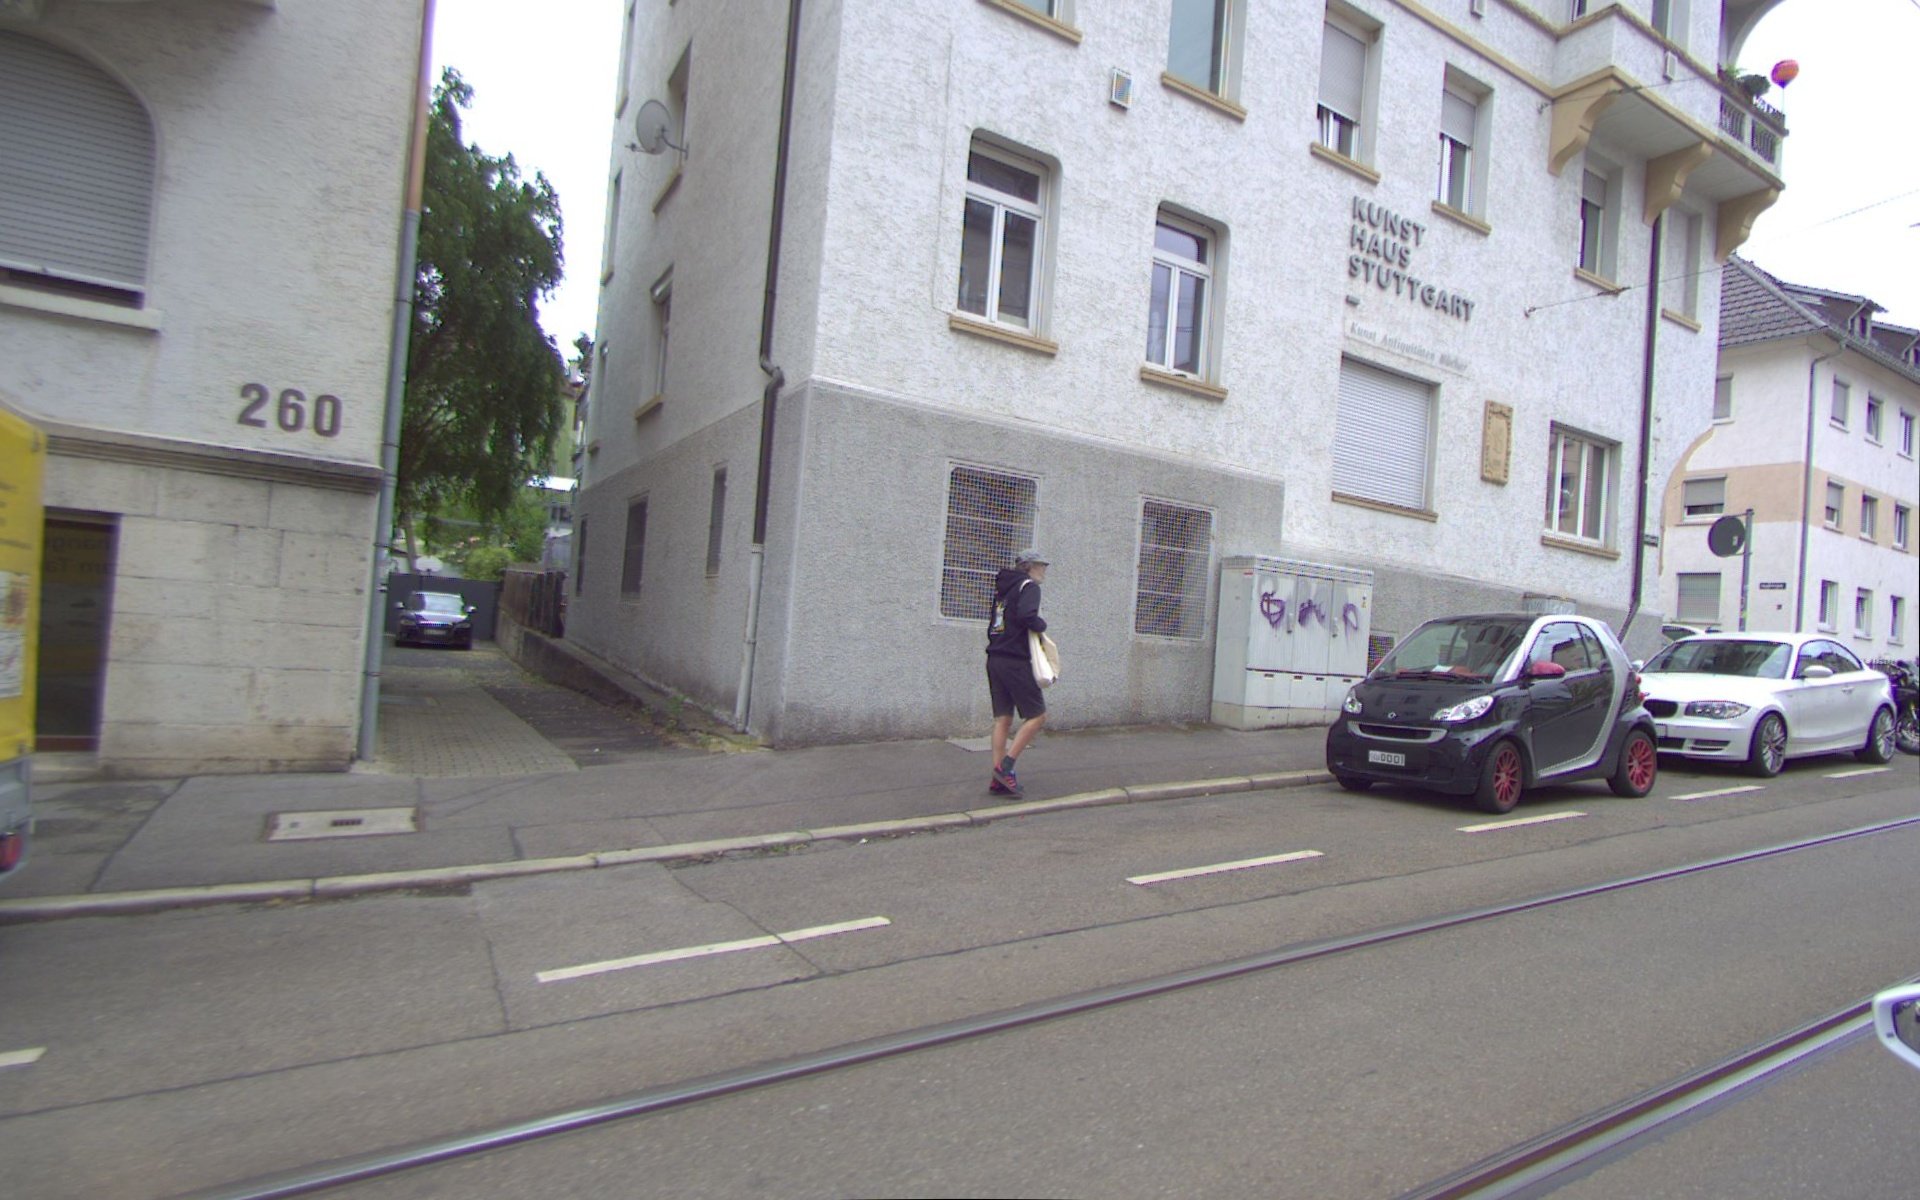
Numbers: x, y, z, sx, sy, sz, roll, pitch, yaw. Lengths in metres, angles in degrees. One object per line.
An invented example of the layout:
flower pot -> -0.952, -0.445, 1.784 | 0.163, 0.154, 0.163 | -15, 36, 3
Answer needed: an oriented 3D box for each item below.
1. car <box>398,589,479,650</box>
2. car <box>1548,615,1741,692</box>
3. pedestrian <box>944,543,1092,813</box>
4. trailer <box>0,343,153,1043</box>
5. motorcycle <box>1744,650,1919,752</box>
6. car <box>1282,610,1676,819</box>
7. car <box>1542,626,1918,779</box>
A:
car -> -13.802, 0.485, 26.506 | 1.679, 1.326, 3.799 | 5, 0, -30
car -> 17.020, 1.298, 25.127 | 1.757, 1.511, 3.498 | 8, -2, -29
pedestrian -> 0.436, 0.570, 7.669 | 0.802, 1.932, 0.586 | 2, 5, -31
trailer -> -5.114, 0.274, 2.921 | 4.022, 2.184, 1.741 | 1, -2, -30
motorcycle -> 11.395, 1.239, 12.859 | 0.753, 1.149, 2.109 | 1, -1, -16
car -> 4.487, 0.886, 8.686 | 2.987, 1.488, 1.689 | 2, -2, -30
car -> 8.593, 1.031, 11.148 | 4.239, 1.375, 1.772 | 2, 0, -29
